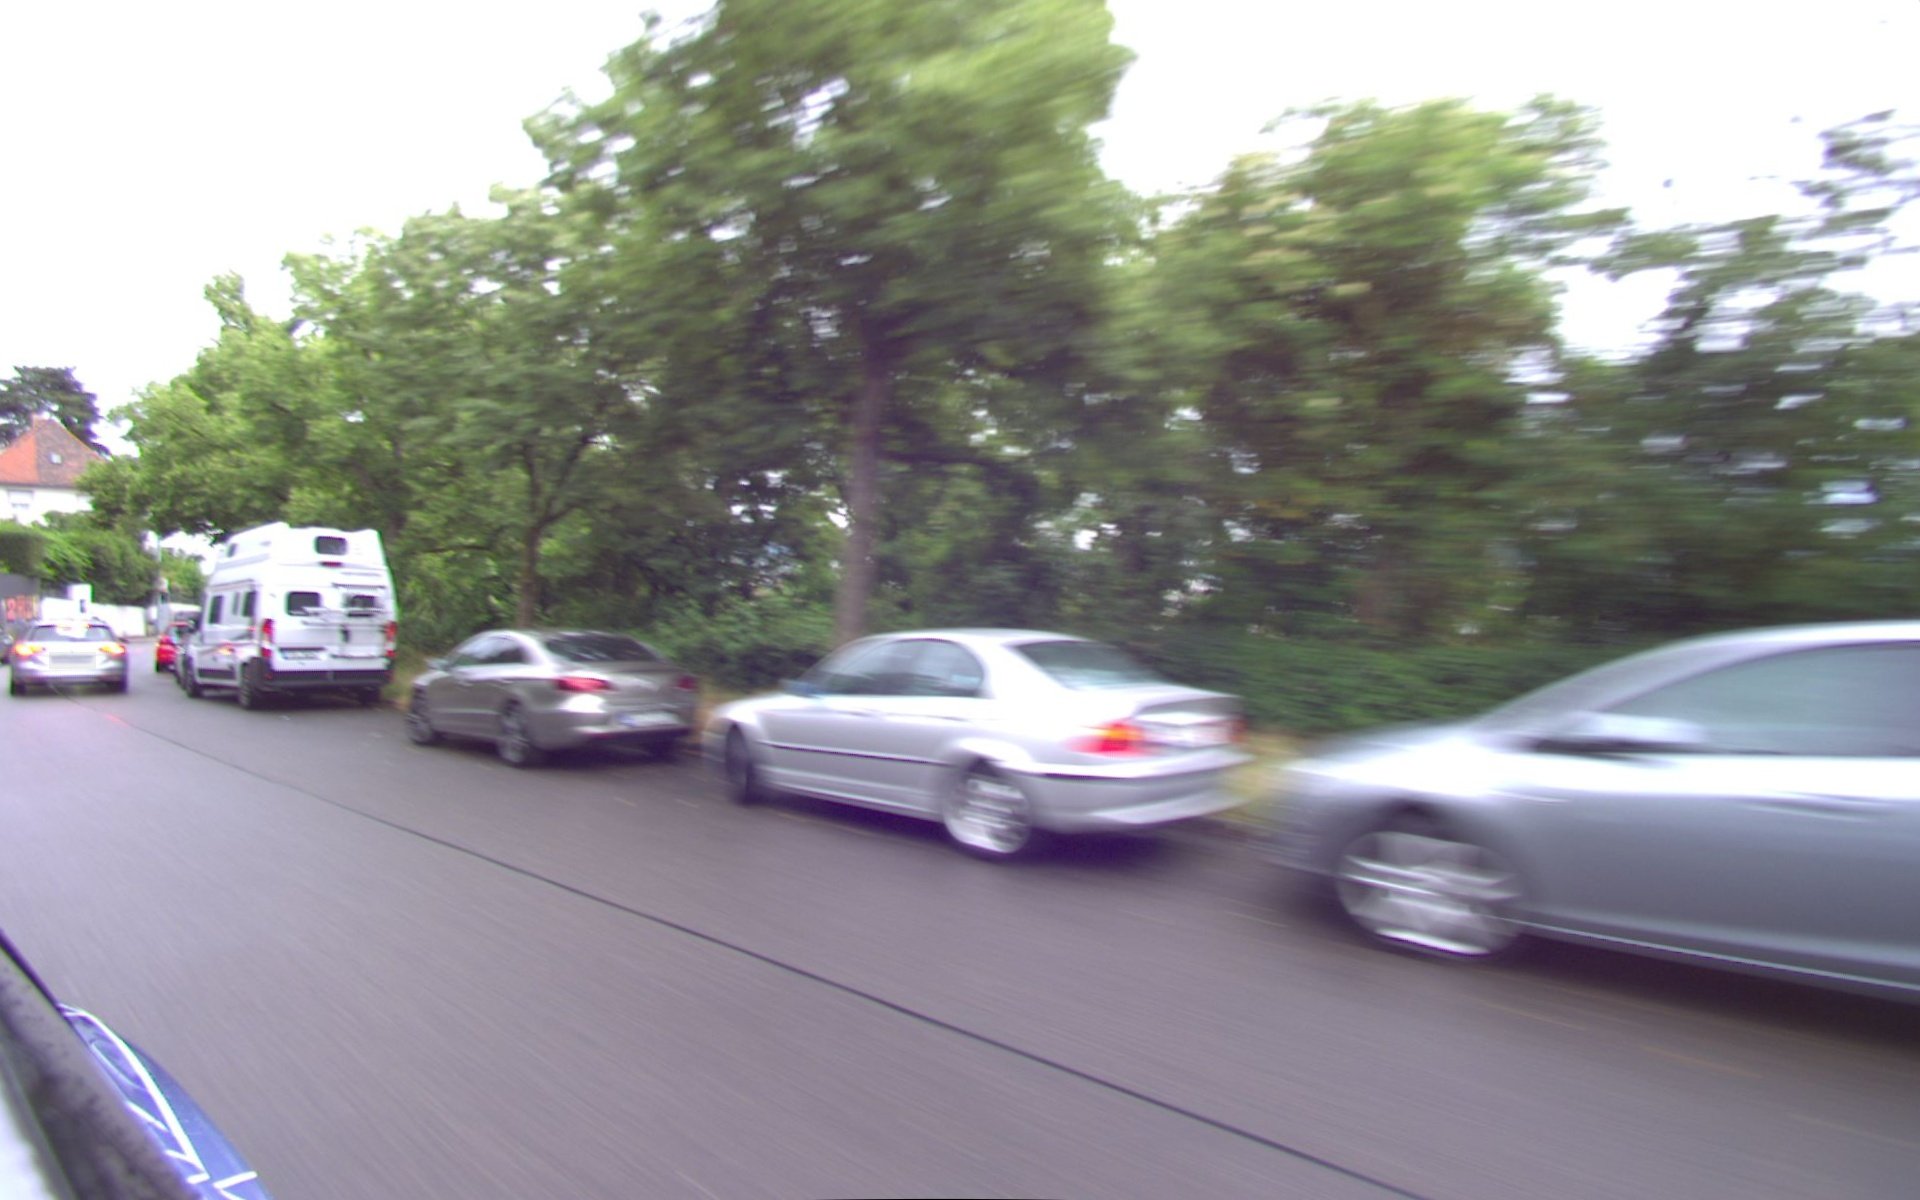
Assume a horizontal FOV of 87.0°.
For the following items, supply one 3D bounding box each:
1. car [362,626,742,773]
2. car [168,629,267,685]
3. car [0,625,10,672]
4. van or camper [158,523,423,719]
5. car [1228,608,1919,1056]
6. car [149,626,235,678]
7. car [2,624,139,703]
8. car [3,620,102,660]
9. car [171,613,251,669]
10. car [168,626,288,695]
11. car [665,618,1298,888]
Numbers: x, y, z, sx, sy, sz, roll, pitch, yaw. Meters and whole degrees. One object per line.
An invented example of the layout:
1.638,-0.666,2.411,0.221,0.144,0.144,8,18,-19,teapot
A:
-4.904,1.029,11.678,5.355,1.319,1.972,-3,-4,43,car
-20.381,1.538,27.731,1.929,1.419,3.550,4,-4,-39,car
-30.640,1.495,30.709,1.998,1.474,4.010,1,-2,-34,car
-12.652,0.407,18.887,6.560,3.050,2.479,-1,-3,42,van or camper
3.667,0.772,3.985,4.715,1.416,1.971,-2,-3,44,car
-23.940,1.612,31.546,1.929,1.472,4.584,4,-4,-38,car
-18.189,1.220,20.620,1.861,1.413,4.259,2,-2,-44,car
-39.154,1.686,43.782,1.997,1.641,4.242,1,-2,-25,car
-29.200,1.628,39.598,1.927,1.983,5.016,5,-5,-31,car
-16.806,1.356,23.157,1.929,1.419,4.215,4,-4,-39,car
-0.118,0.921,7.699,4.714,1.416,1.971,-3,-4,43,car
